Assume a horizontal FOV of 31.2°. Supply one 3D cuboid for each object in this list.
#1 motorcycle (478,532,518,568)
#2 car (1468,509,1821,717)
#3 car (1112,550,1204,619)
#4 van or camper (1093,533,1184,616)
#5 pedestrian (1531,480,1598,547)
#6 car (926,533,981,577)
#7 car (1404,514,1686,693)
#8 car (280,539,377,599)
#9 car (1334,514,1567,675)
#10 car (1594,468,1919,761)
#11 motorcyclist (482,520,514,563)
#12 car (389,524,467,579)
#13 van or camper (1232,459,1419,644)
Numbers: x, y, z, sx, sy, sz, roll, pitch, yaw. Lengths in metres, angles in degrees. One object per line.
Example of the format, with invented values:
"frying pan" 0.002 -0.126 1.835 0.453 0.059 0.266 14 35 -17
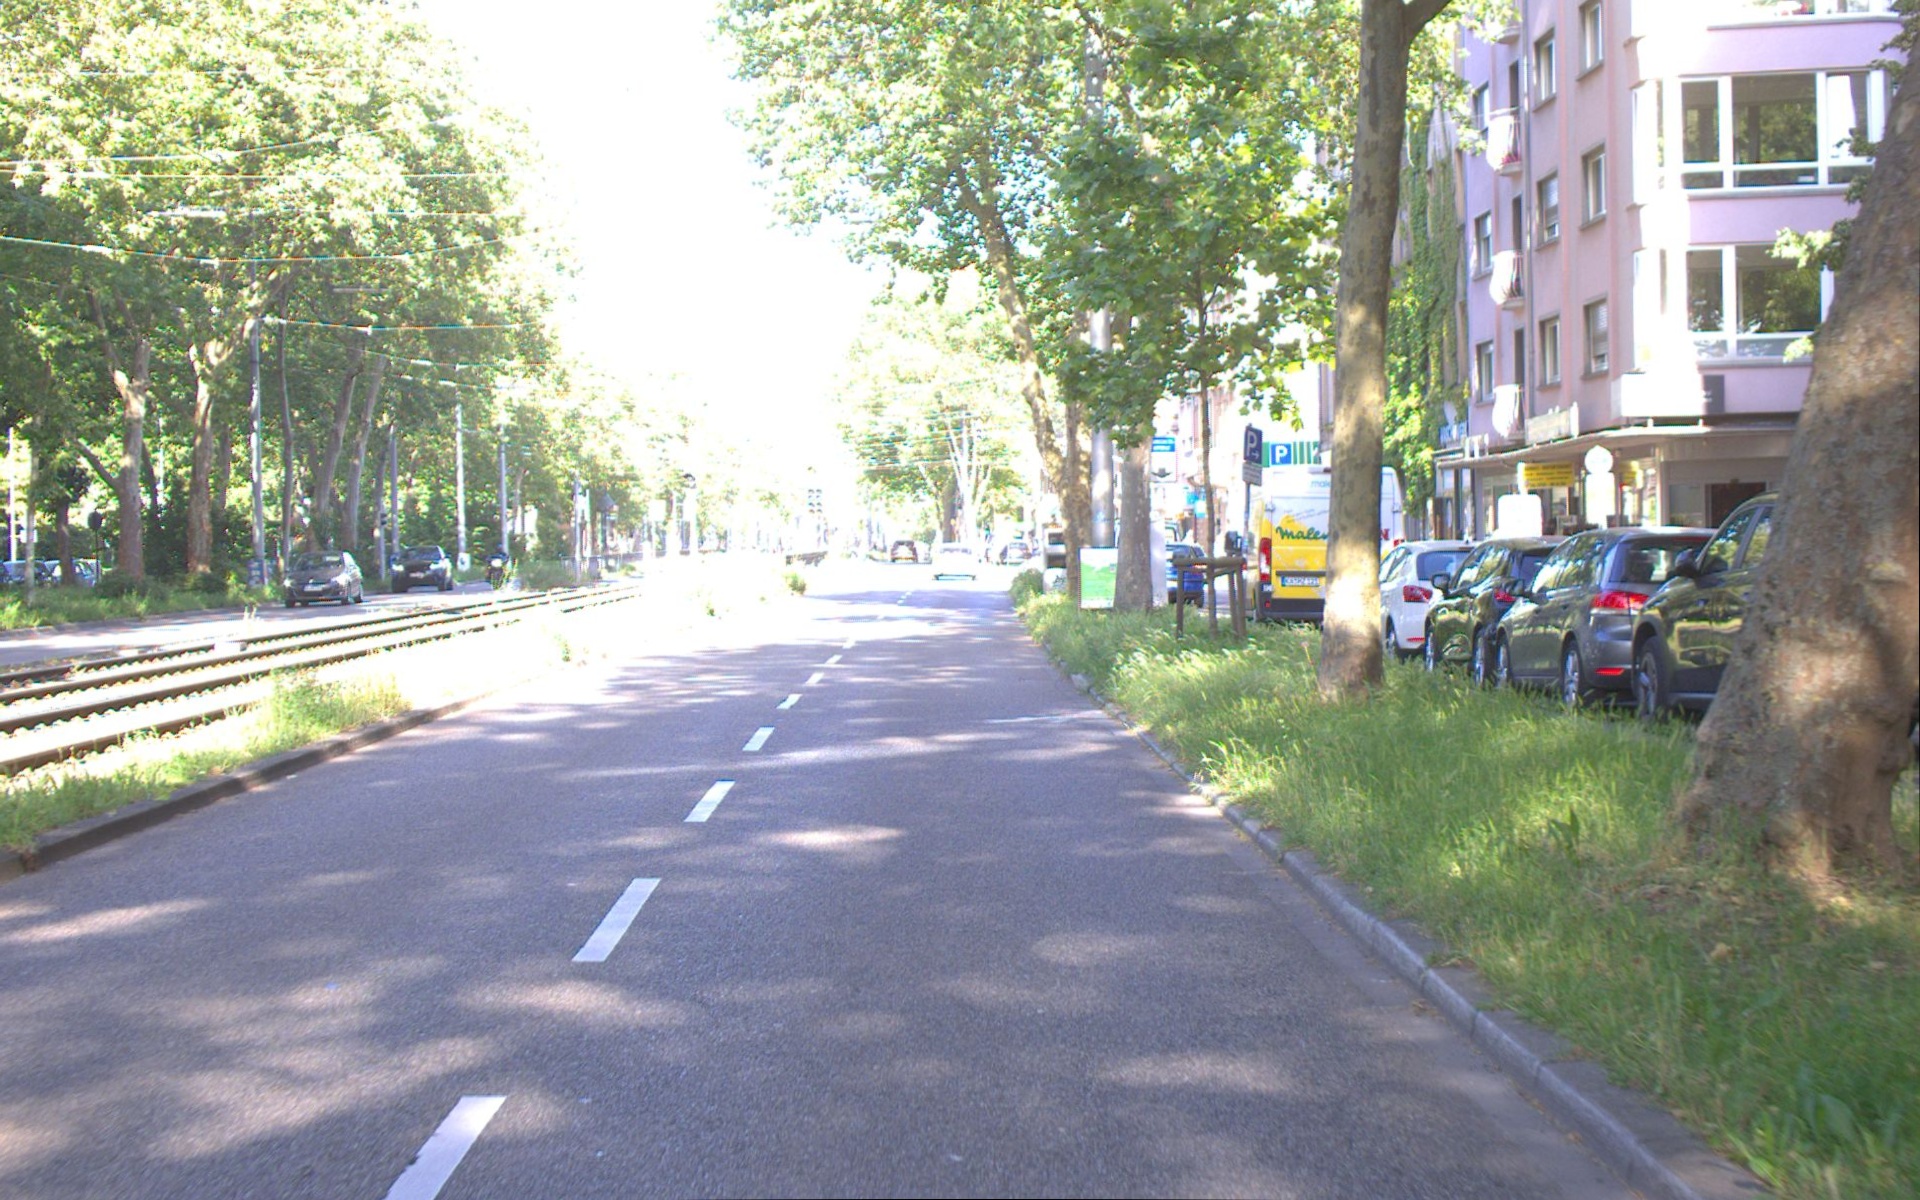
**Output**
"motorcycle" -16.296 -1.770 121.373 0.964 1.208 3.351 -1 1 0
"car" 5.295 0.059 27.137 1.737 1.459 4.366 2 1 -2
"car" 4.460 -0.369 77.929 1.683 1.508 3.668 0 1 -3
"van or camper" 4.279 -0.635 83.112 1.839 1.956 5.127 0 1 -1
"pedestrian" 11.507 -1.653 65.465 1.143 1.251 0.749 -1 1 0
"car" -0.253 -1.736 132.070 2.021 1.656 4.000 -1 1 -1
"car" 5.342 0.000 31.883 1.753 1.491 4.185 2 1 -1
"car" -17.554 -0.876 95.721 1.795 1.503 4.339 -4 1 0
"car" 5.181 -0.090 36.824 1.753 1.567 4.185 2 1 -1
"car" 5.551 0.061 21.949 1.890 1.641 4.801 2 1 -2
"motorcyclist" -16.294 -2.076 121.280 0.944 1.508 0.959 -1 1 0
"car" -19.407 -1.798 125.673 1.993 1.864 4.873 -3 1 0
"van or camper" 5.239 -0.709 50.110 2.184 2.472 6.268 1 1 2
